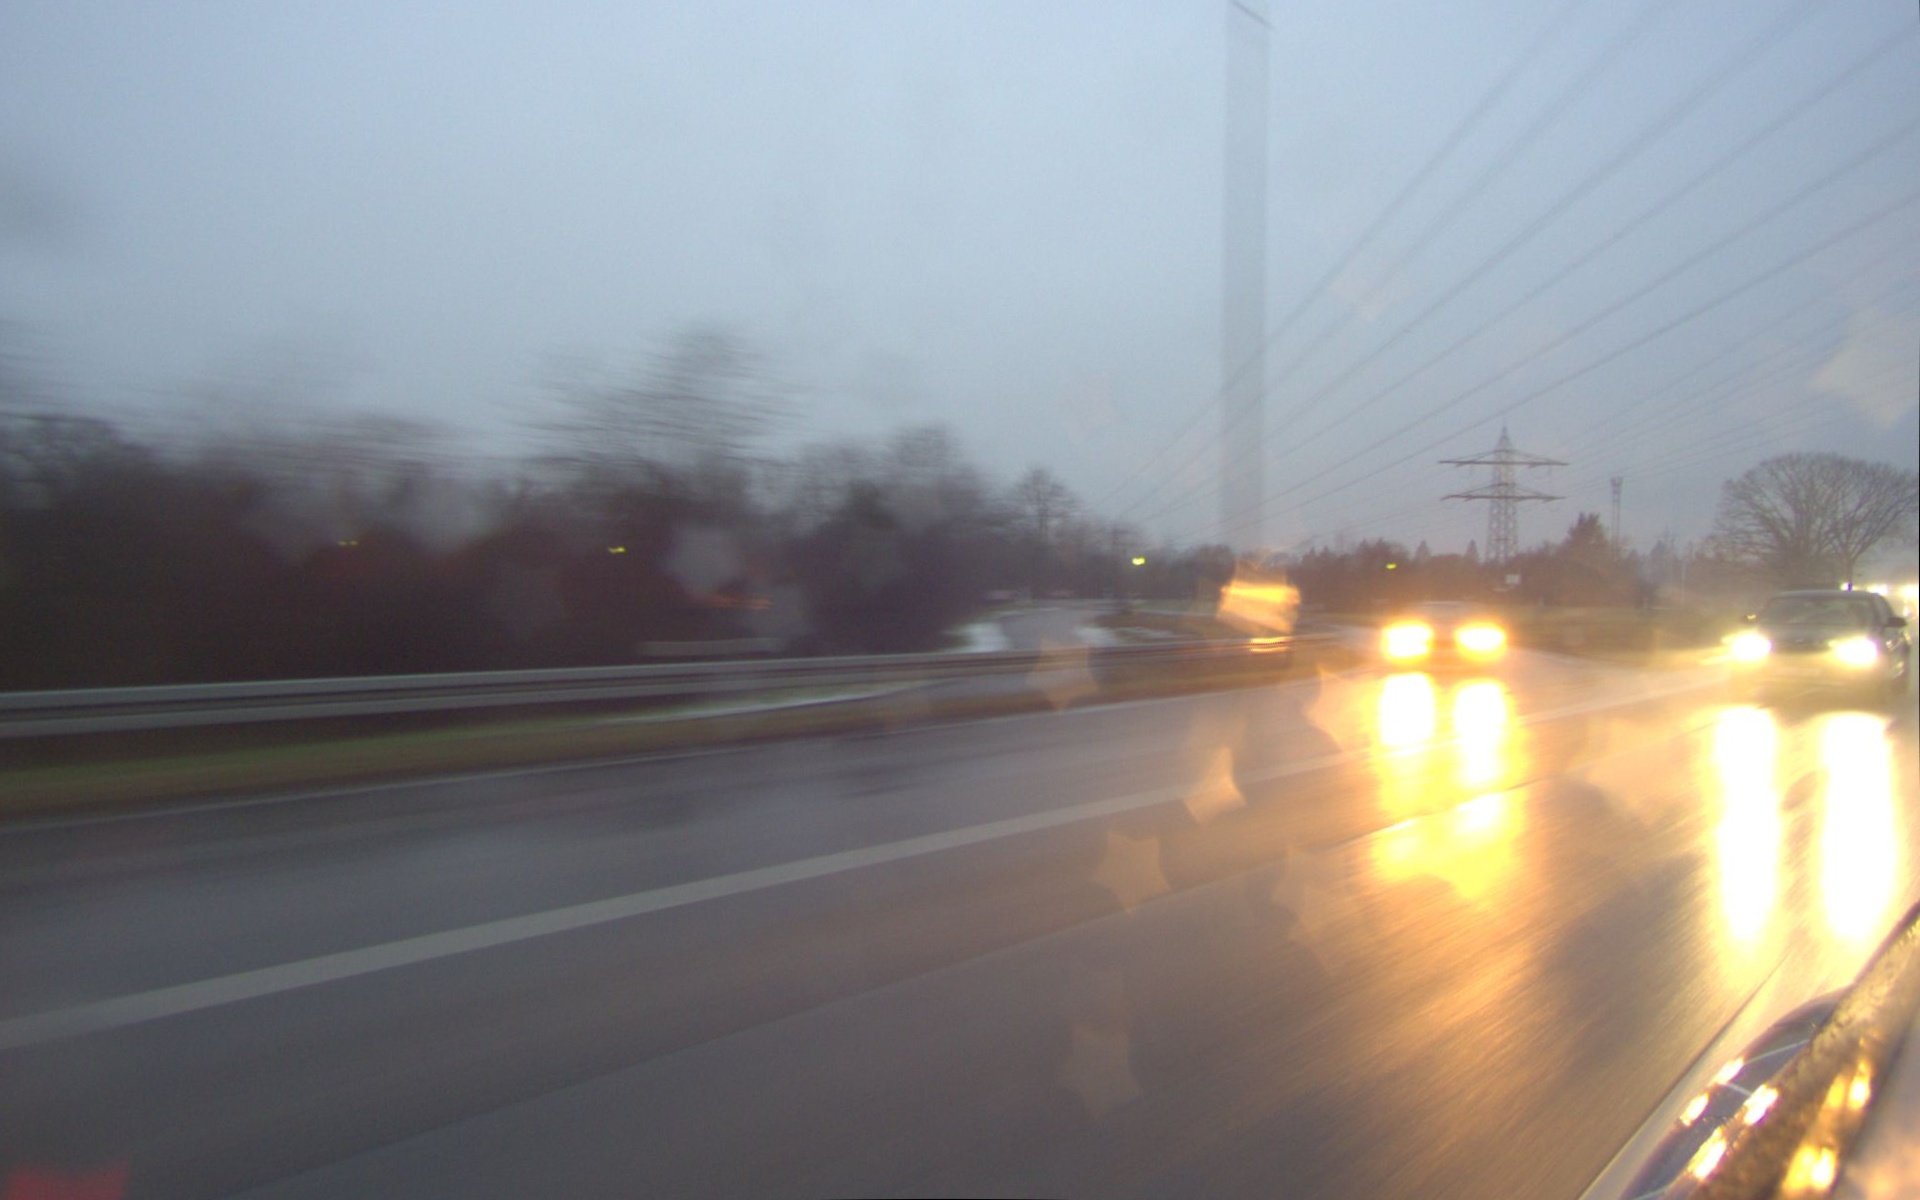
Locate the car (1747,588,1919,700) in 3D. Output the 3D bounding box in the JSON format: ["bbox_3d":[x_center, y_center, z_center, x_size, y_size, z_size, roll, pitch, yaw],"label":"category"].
[{"bbox_3d":[13.814,0.591,15.829,3.742,1.528,1.681,0,1,-41],"label":"car"}]

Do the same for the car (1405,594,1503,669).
[{"bbox_3d":[10.808,0.614,22.237,1.775,1.452,3.786,1,1,26],"label":"car"}]
